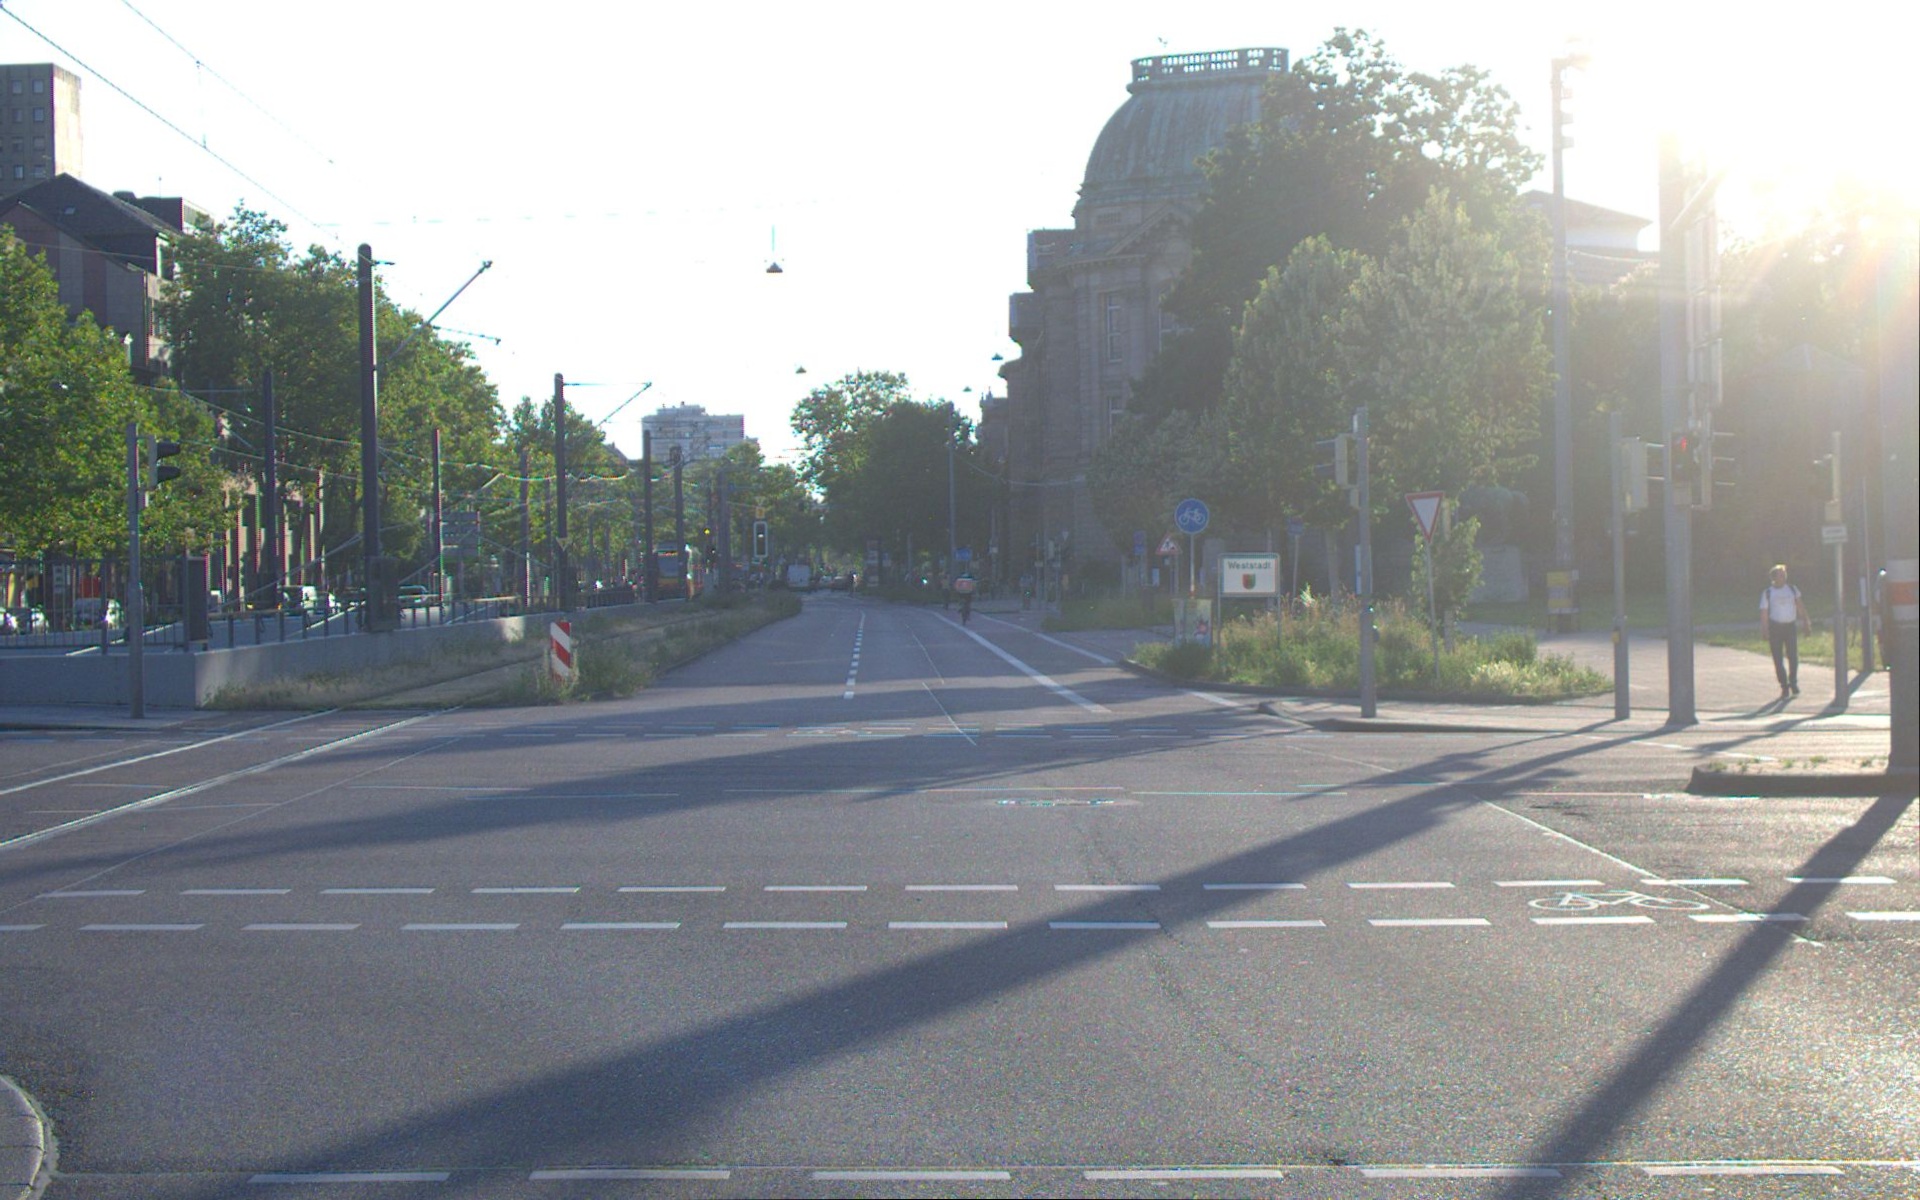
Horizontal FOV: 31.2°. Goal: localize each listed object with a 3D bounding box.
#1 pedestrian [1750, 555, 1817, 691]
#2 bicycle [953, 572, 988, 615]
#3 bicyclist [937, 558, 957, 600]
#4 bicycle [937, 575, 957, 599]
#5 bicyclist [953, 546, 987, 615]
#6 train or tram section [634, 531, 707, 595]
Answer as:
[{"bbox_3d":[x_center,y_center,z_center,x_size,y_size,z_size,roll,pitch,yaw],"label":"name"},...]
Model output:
[{"bbox_3d":[10.997,0.304,45.911,0.833,1.797,0.810,-1,0,15],"label":"pedestrian"},{"bbox_3d":[0.352,-0.217,113.821,1.098,1.394,2.832,-1,0,-1],"label":"bicycle"},{"bbox_3d":[-0.640,-1.030,165.488,0.925,2.007,0.850,-1,0,-1],"label":"bicyclist"},{"bbox_3d":[-0.625,-0.626,165.501,0.924,1.108,2.333,-1,0,-1],"label":"bicycle"},{"bbox_3d":[0.322,-0.639,113.832,1.082,2.268,0.986,0,0,-1],"label":"bicyclist"},{"bbox_3d":[-18.251,-2.320,216.992,4.385,3.837,11.411,-1,1,-5],"label":"train or tram section"}]
